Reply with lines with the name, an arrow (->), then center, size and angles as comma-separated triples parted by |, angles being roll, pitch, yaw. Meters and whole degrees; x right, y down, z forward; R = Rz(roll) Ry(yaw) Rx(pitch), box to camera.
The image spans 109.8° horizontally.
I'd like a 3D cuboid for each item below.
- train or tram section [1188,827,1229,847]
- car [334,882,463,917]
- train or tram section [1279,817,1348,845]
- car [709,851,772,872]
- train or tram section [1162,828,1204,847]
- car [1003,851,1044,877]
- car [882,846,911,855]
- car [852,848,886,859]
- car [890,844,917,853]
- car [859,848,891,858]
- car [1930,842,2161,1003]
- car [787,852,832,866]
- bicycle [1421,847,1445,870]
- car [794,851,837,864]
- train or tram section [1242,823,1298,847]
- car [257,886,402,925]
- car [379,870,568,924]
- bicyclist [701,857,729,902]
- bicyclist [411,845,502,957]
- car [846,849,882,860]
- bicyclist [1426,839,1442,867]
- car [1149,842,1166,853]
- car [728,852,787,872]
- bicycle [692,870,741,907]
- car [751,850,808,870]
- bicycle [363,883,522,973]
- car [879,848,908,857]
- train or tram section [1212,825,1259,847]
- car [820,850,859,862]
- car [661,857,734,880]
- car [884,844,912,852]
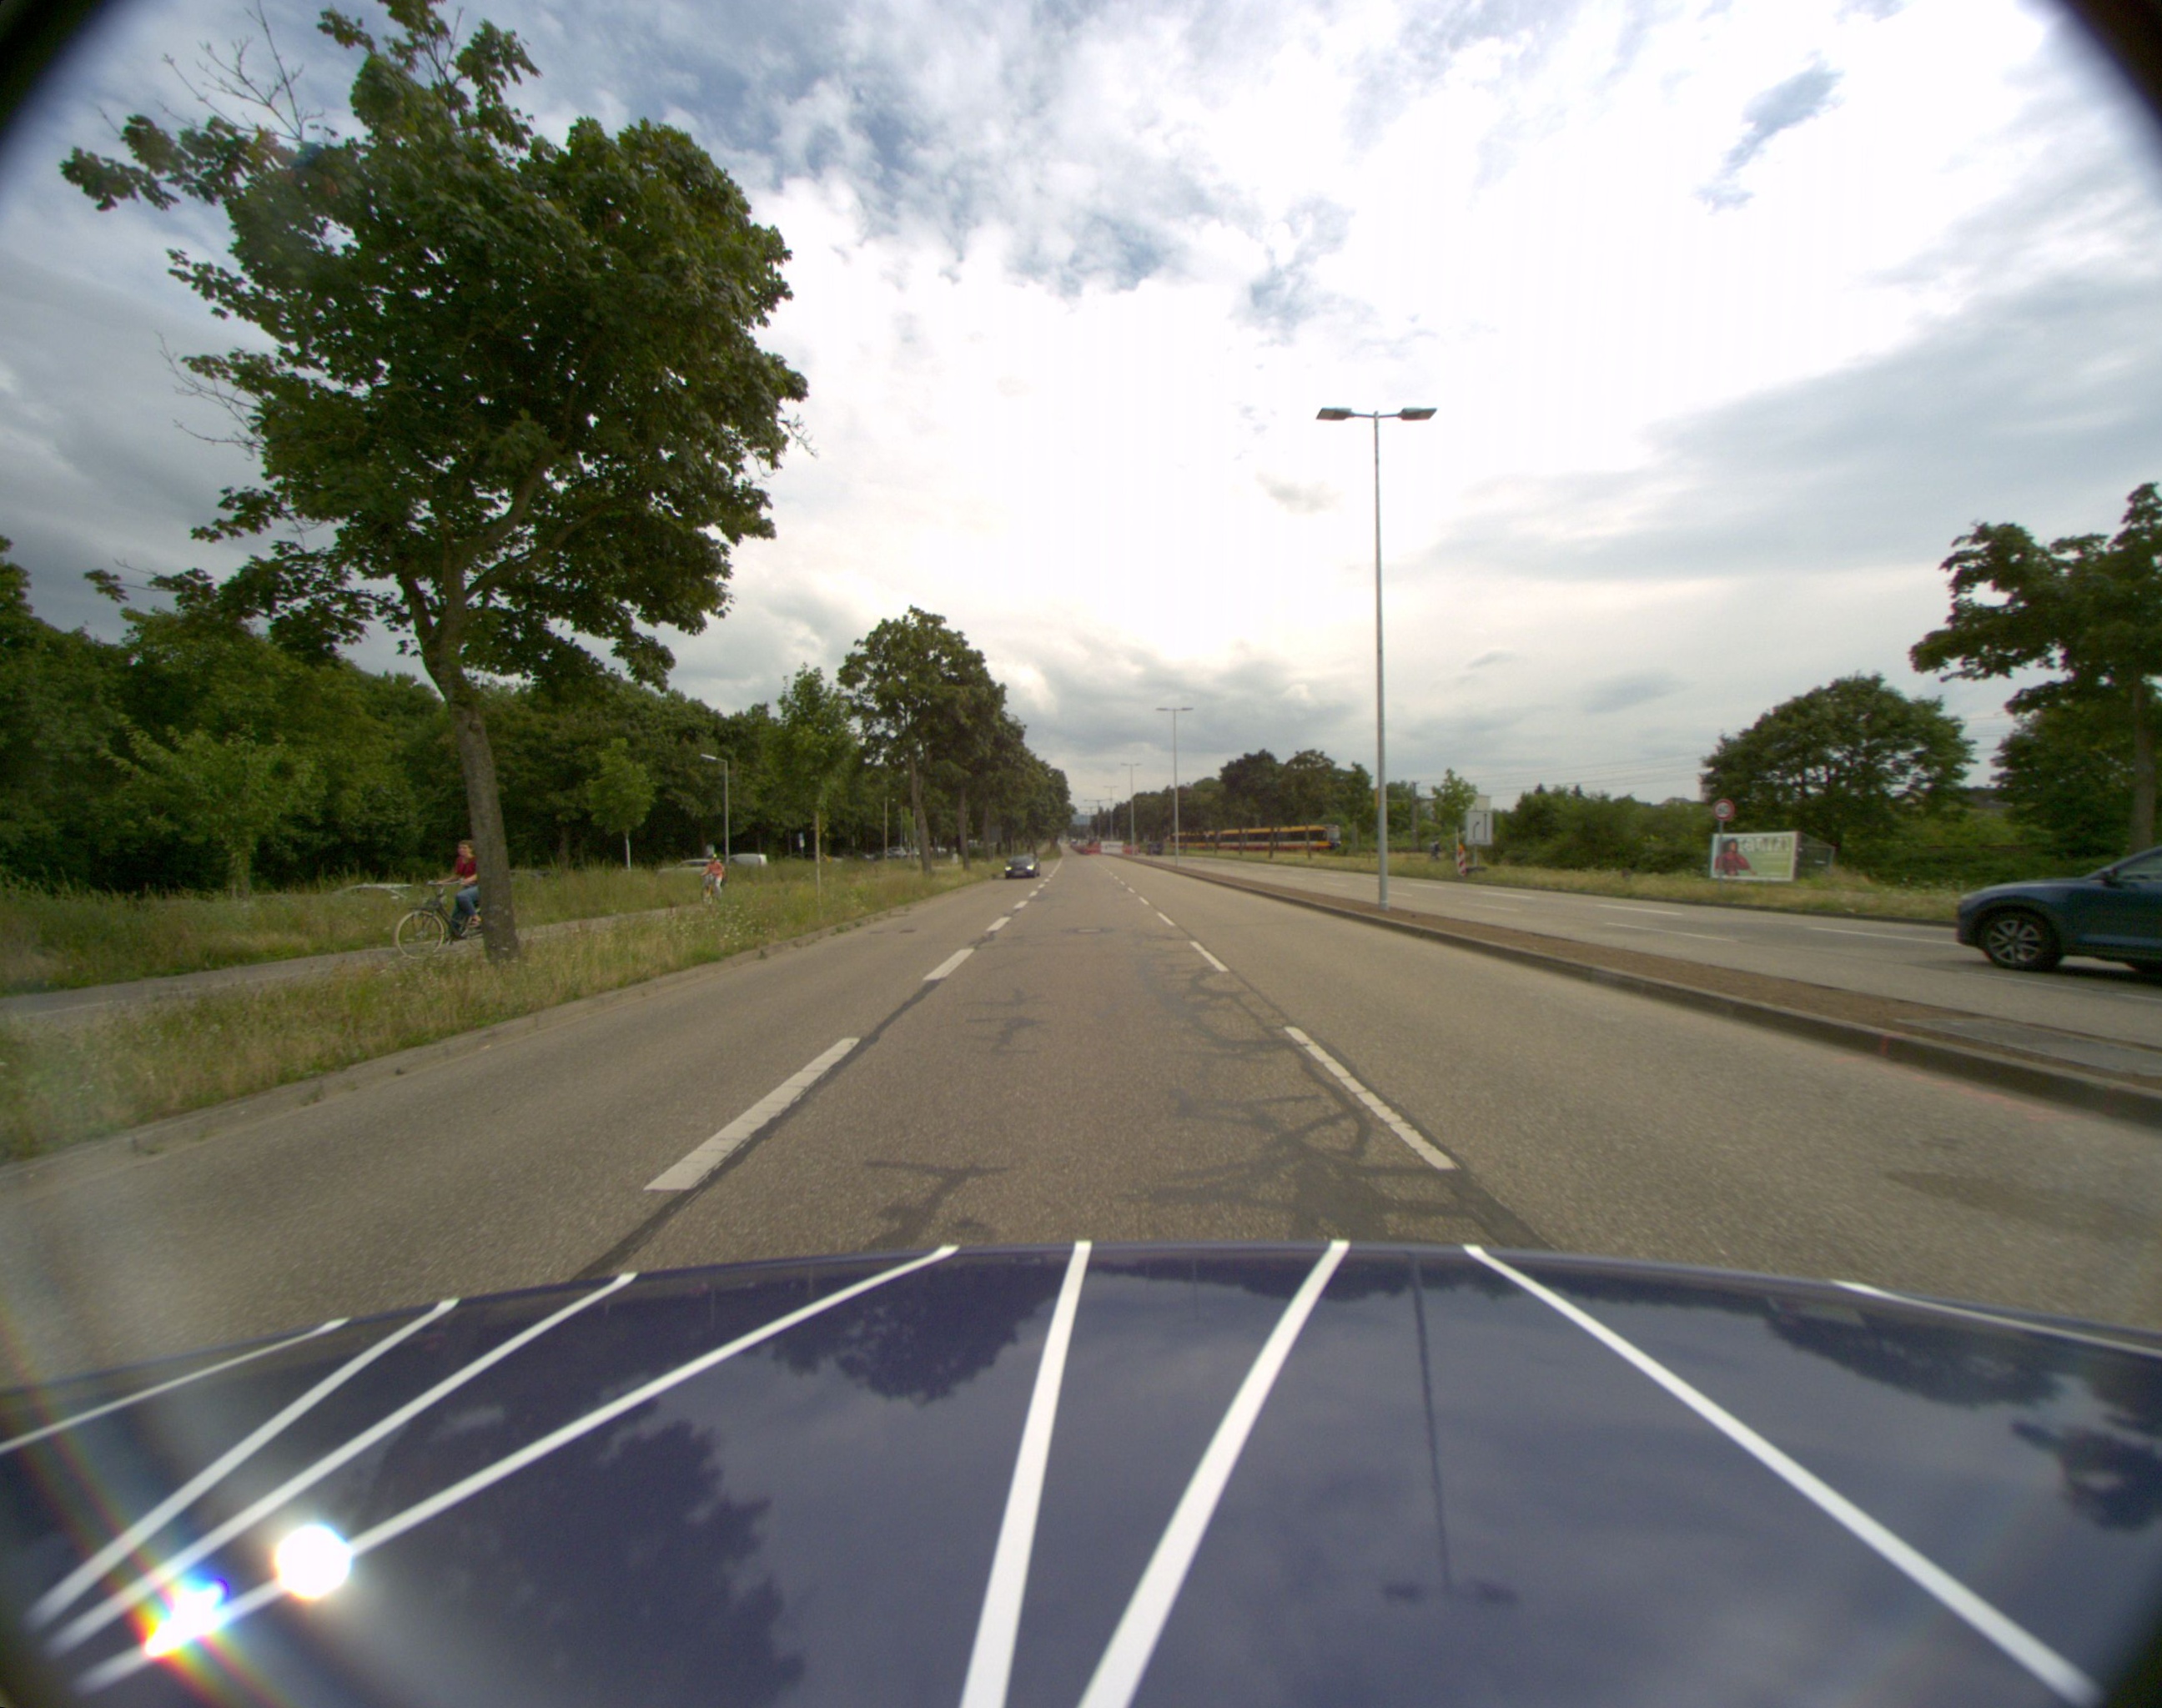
train or tram section -> 23.178, -3.060, 138.934 | 2.923, 3.402, 11.932 | -3, 1, -12
car -> -25.639, 1.689, 28.612 | 3.448, 1.184, 1.357 | -1, 1, -5
train or tram section -> 31.601, -3.057, 104.141 | 2.924, 3.402, 11.929 | -3, 1, -16
car -> -25.878, 0.522, 57.846 | 3.999, 1.547, 1.650 | 0, 1, -5
train or tram section -> 20.275, -3.190, 152.405 | 2.923, 3.402, 15.638 | -3, 1, -12
car -> -3.375, 0.556, 45.403 | 1.772, 1.439, 4.325 | -1, 1, 5
car -> -28.162, -0.473, 116.061 | 3.999, 1.358, 1.618 | 0, 1, -5
car -> -27.364, -0.049, 98.046 | 3.999, 1.358, 1.618 | 0, 1, -5
car -> -28.708, -0.893, 123.127 | 3.999, 1.358, 1.618 | 0, 1, -5
car -> -27.959, -0.131, 103.047 | 3.999, 1.358, 1.618 | 0, 1, -5
car -> 11.964, 0.702, 7.591 | 1.852, 1.644, 4.564 | 0, 1, 1
car -> -27.295, 0.541, 76.449 | 3.999, 1.358, 1.618 | 0, 1, -5
bicycle -> 22.521, 0.251, 48.589 | 0.537, 1.414, 2.166 | 0, 1, 1
car -> -27.592, 0.335, 79.029 | 3.999, 1.358, 1.618 | 0, 1, -5
train or tram section -> 28.561, -2.851, 115.723 | 2.924, 3.402, 11.930 | -3, 1, -14
car -> -25.935, 1.751, 26.302 | 3.448, 1.184, 1.357 | -1, 1, -5
car -> -16.550, 1.142, 20.841 | 3.811, 1.368, 1.536 | 0, 1, -5
bicyclist -> -10.526, 0.726, 21.860 | 0.539, 1.275, 0.450 | -2, 2, 0
bicyclist -> -9.628, 0.700, 11.742 | 0.653, 1.648, 0.781 | -2, 2, 0
car -> -27.240, 0.020, 95.489 | 3.999, 1.358, 1.618 | 0, 1, -5
bicyclist -> 22.520, -0.068, 48.457 | 0.645, 1.821, 0.819 | 0, 1, 0
car -> 11.129, -0.972, 111.290 | 1.852, 1.644, 4.257 | 0, 1, -3
car -> -26.017, 0.621, 61.194 | 3.998, 1.576, 1.803 | 0, 1, -2
bicycle -> -10.528, 0.985, 22.003 | 0.515, 0.959, 1.782 | 0, 1, 1
car -> -25.119, 0.484, 63.342 | 3.998, 1.576, 1.803 | 0, 1, -2
bicycle -> -9.644, 1.064, 11.615 | 0.515, 1.141, 2.231 | 0, 1, 1
car -> -27.961, -0.238, 113.203 | 3.999, 1.358, 1.618 | 0, 1, -5
train or tram section -> 25.736, -2.949, 127.306 | 2.923, 3.402, 11.932 | -3, 1, -12
car -> -27.337, 0.205, 86.034 | 3.999, 1.358, 1.618 | 0, 1, -5
car -> -25.524, 0.950, 50.624 | 3.999, 1.435, 1.650 | 0, 1, -5
car -> -28.670, -0.929, 118.941 | 3.999, 1.358, 1.618 | 0, 1, -5
